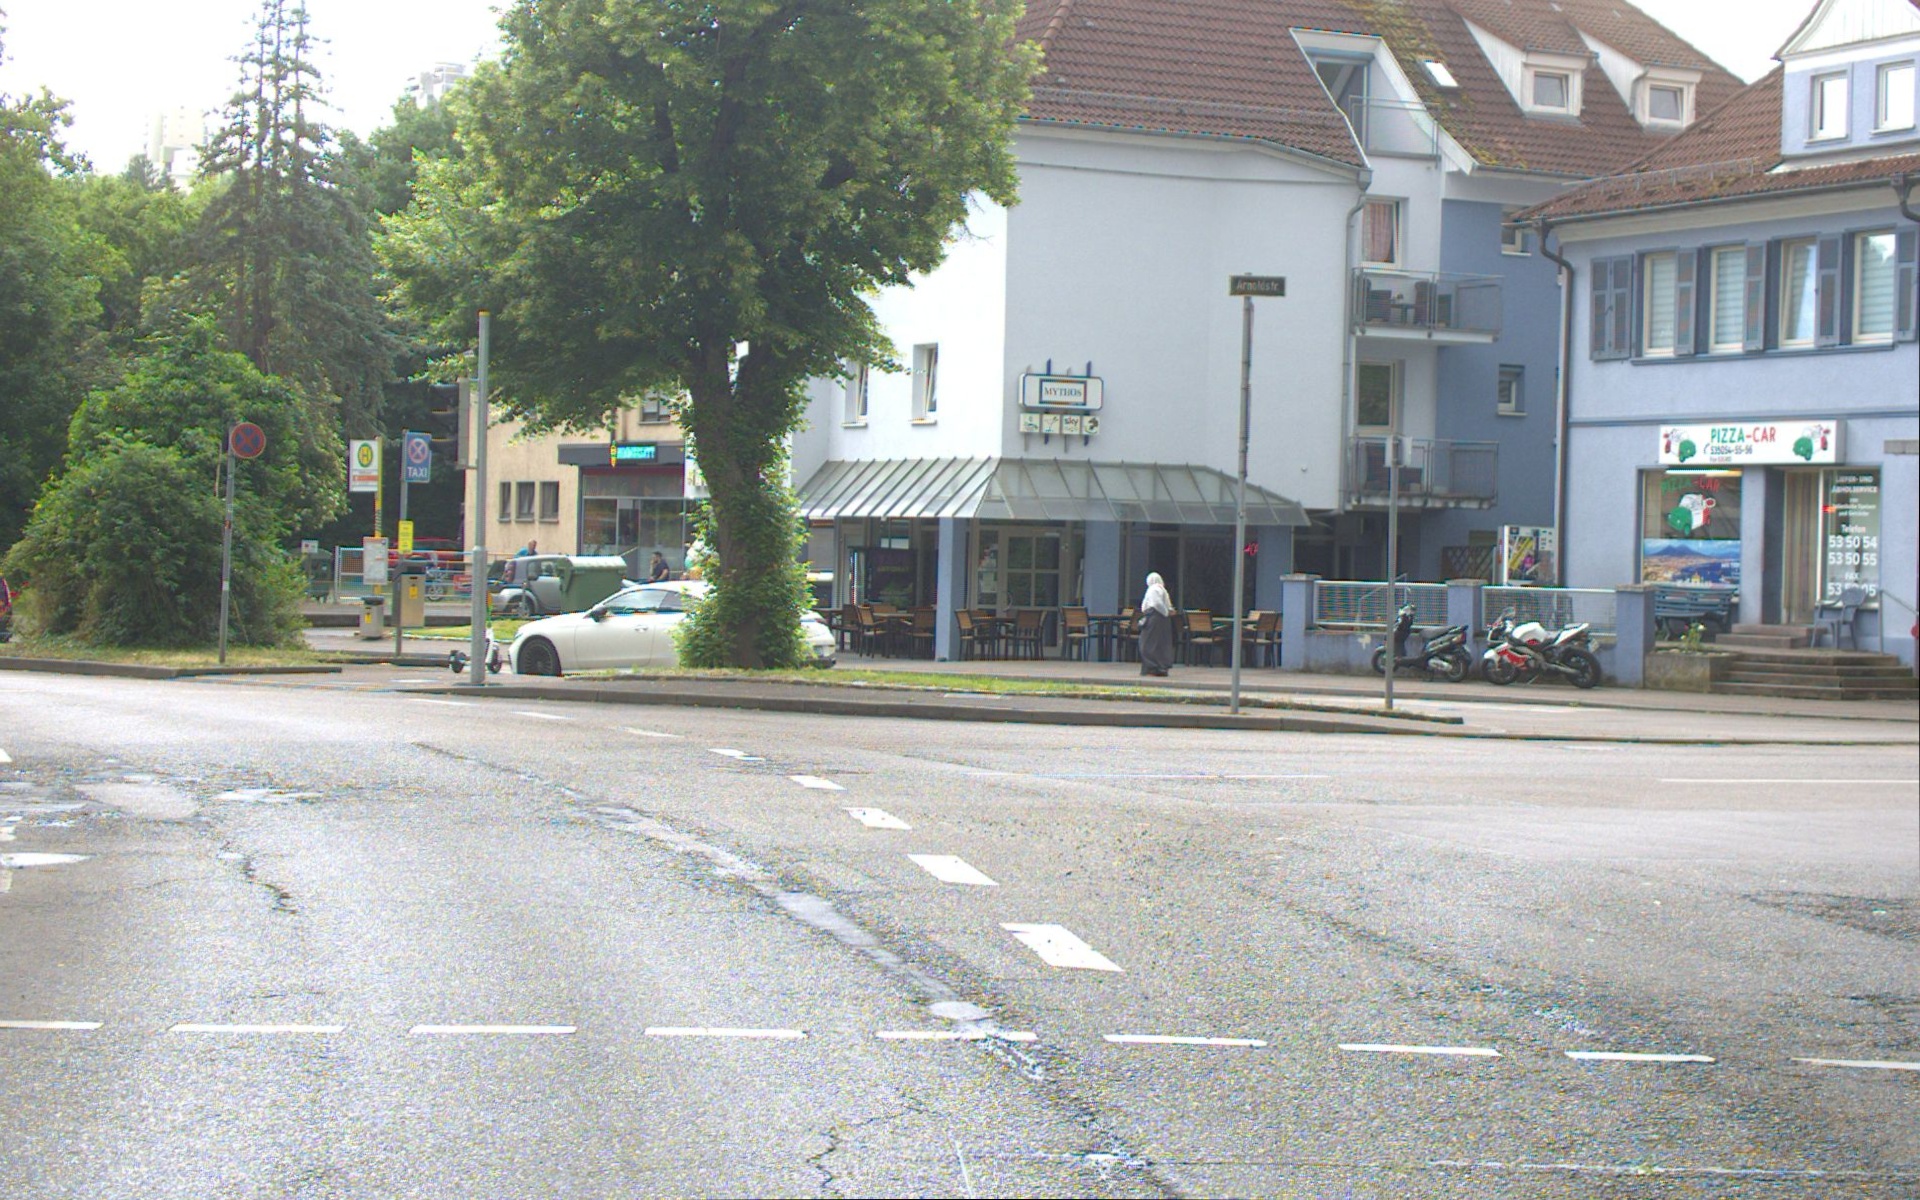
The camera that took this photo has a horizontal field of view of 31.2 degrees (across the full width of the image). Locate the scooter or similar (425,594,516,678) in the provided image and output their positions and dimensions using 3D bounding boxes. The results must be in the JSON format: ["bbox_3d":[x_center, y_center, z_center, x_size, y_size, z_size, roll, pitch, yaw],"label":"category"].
[{"bbox_3d":[-6.061,0.434,42.651,0.417,1.008,1.565,1,1,20],"label":"scooter or similar"}]

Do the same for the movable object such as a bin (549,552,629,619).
[{"bbox_3d":[-7.985,-0.318,73.976,1.440,1.404,0.967,1,1,-27],"label":"movable object such as a bin"}]

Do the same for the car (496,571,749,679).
[{"bbox_3d":[-4.533,0.319,46.044,3.171,1.350,1.436,2,1,35],"label":"car"}]

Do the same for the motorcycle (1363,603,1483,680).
[{"bbox_3d":[6.750,0.598,50.161,1.636,1.060,0.693,2,1,44],"label":"motorcycle"}]

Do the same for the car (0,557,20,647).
[{"bbox_3d":[-16.516,-0.009,53.723,3.590,1.389,1.469,2,1,32],"label":"car"}]

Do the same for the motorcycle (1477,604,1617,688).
[{"bbox_3d":[8.255,0.636,48.382,1.798,1.118,0.693,2,1,38],"label":"motorcycle"}]

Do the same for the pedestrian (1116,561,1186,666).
[{"bbox_3d":[2.852,0.198,51.265,0.768,1.539,0.677,1,1,39],"label":"pedestrian"}]

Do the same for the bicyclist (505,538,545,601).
[{"bbox_3d":[-10.594,-0.744,83.724,0.739,1.536,0.598,2,1,39],"label":"bicyclist"}]

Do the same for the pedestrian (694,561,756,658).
[{"bbox_3d":[-3.790,0.144,55.467,0.707,1.539,0.677,2,1,40],"label":"pedestrian"}]

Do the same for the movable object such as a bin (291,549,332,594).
[{"bbox_3d":[-16.249,-0.724,86.169,0.950,1.111,0.383,1,1,-21],"label":"movable object such as a bin"}]

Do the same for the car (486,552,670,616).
[{"bbox_3d":[-8.428,-0.360,75.873,3.733,1.340,1.434,1,1,-26],"label":"car"}]
